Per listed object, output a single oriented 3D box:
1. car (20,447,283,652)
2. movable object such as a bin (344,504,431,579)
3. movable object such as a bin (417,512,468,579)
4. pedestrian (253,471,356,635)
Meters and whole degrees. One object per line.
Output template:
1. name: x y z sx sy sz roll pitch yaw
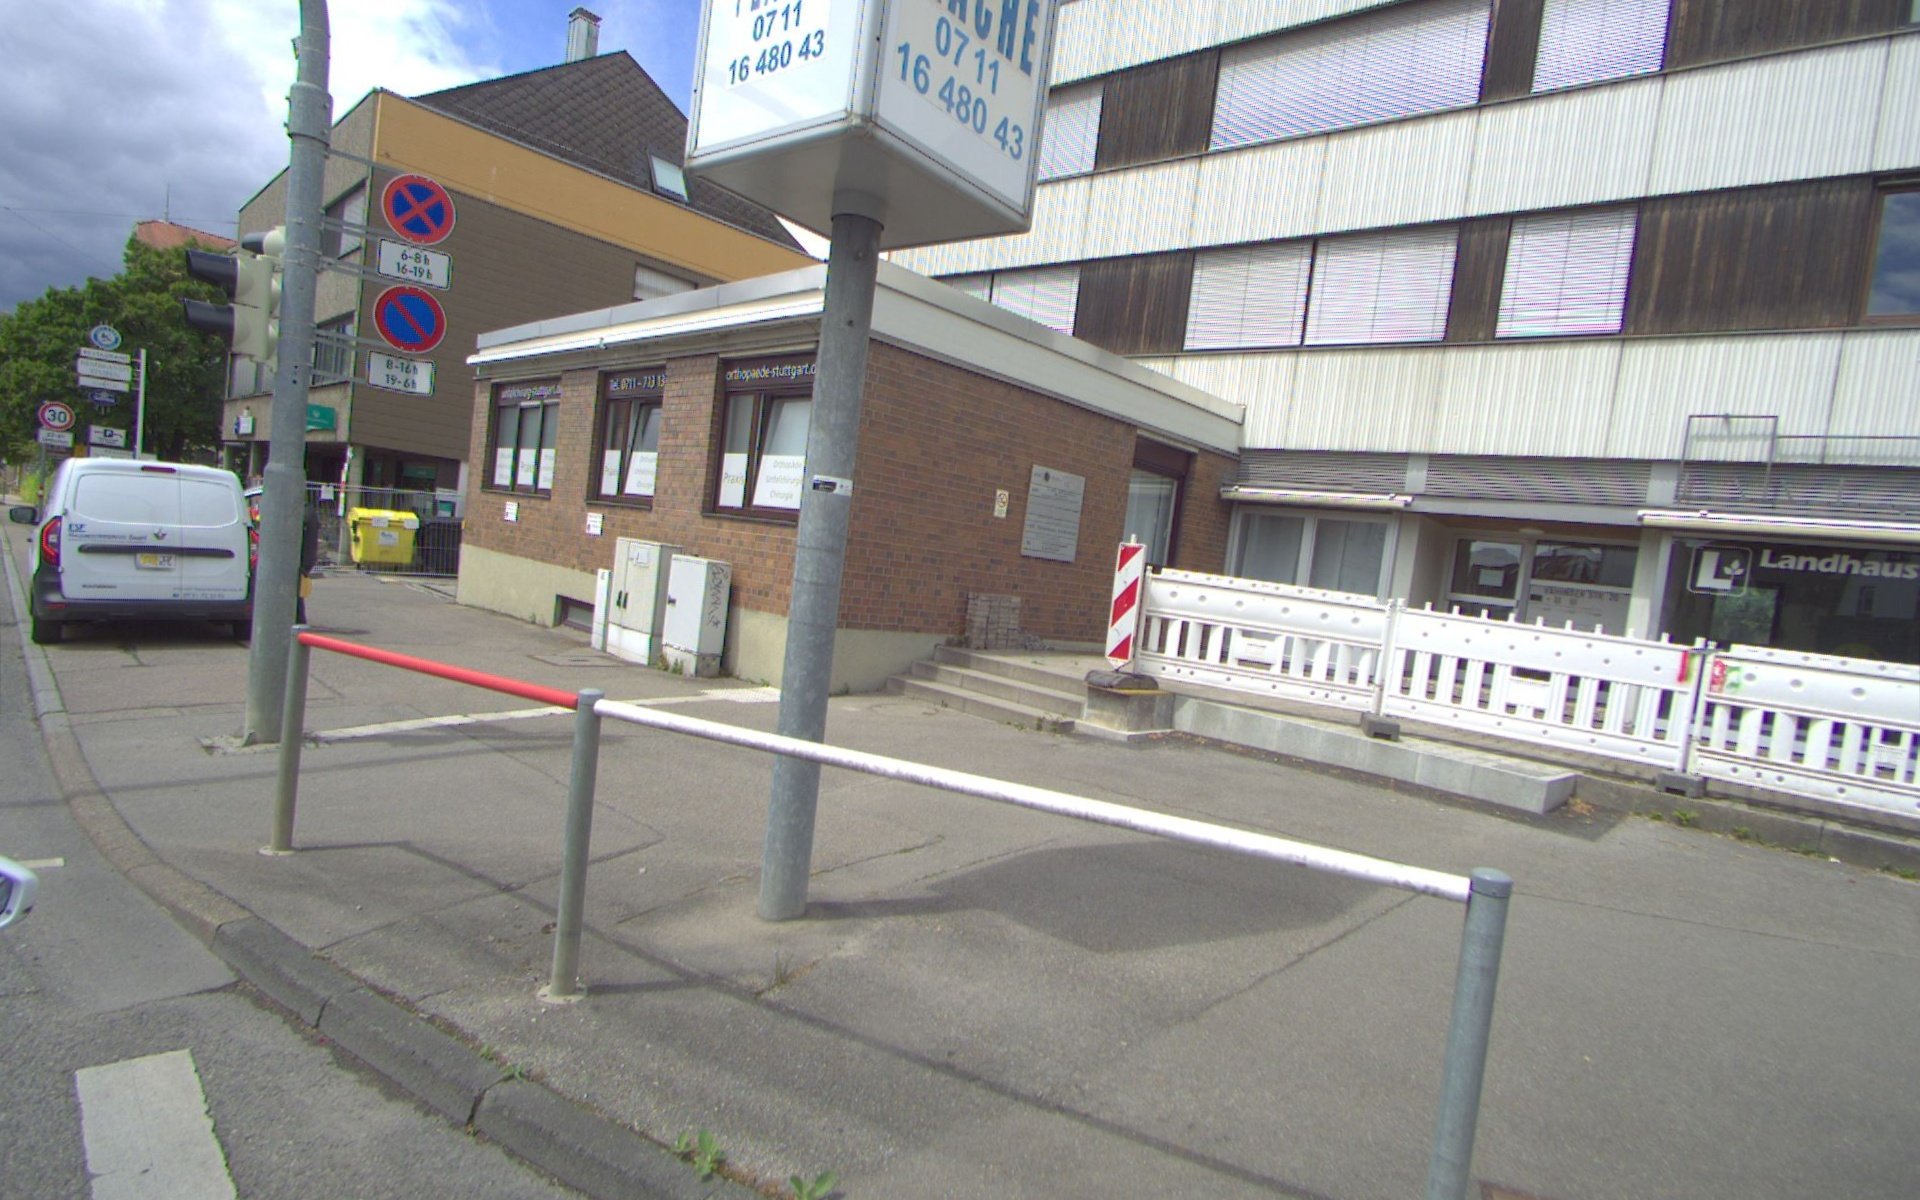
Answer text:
1. car: -9.119 -0.609 11.189 1.902 1.819 4.434 0 4 -44
2. movable object such as a bin: -13.362 -1.357 23.482 1.476 1.512 1.063 4 5 -42
3. movable object such as a bin: -12.460 -1.303 24.219 0.776 1.460 1.005 4 5 -42
4. pedestrian: -7.692 -0.543 11.802 0.642 1.828 0.840 8 5 44
